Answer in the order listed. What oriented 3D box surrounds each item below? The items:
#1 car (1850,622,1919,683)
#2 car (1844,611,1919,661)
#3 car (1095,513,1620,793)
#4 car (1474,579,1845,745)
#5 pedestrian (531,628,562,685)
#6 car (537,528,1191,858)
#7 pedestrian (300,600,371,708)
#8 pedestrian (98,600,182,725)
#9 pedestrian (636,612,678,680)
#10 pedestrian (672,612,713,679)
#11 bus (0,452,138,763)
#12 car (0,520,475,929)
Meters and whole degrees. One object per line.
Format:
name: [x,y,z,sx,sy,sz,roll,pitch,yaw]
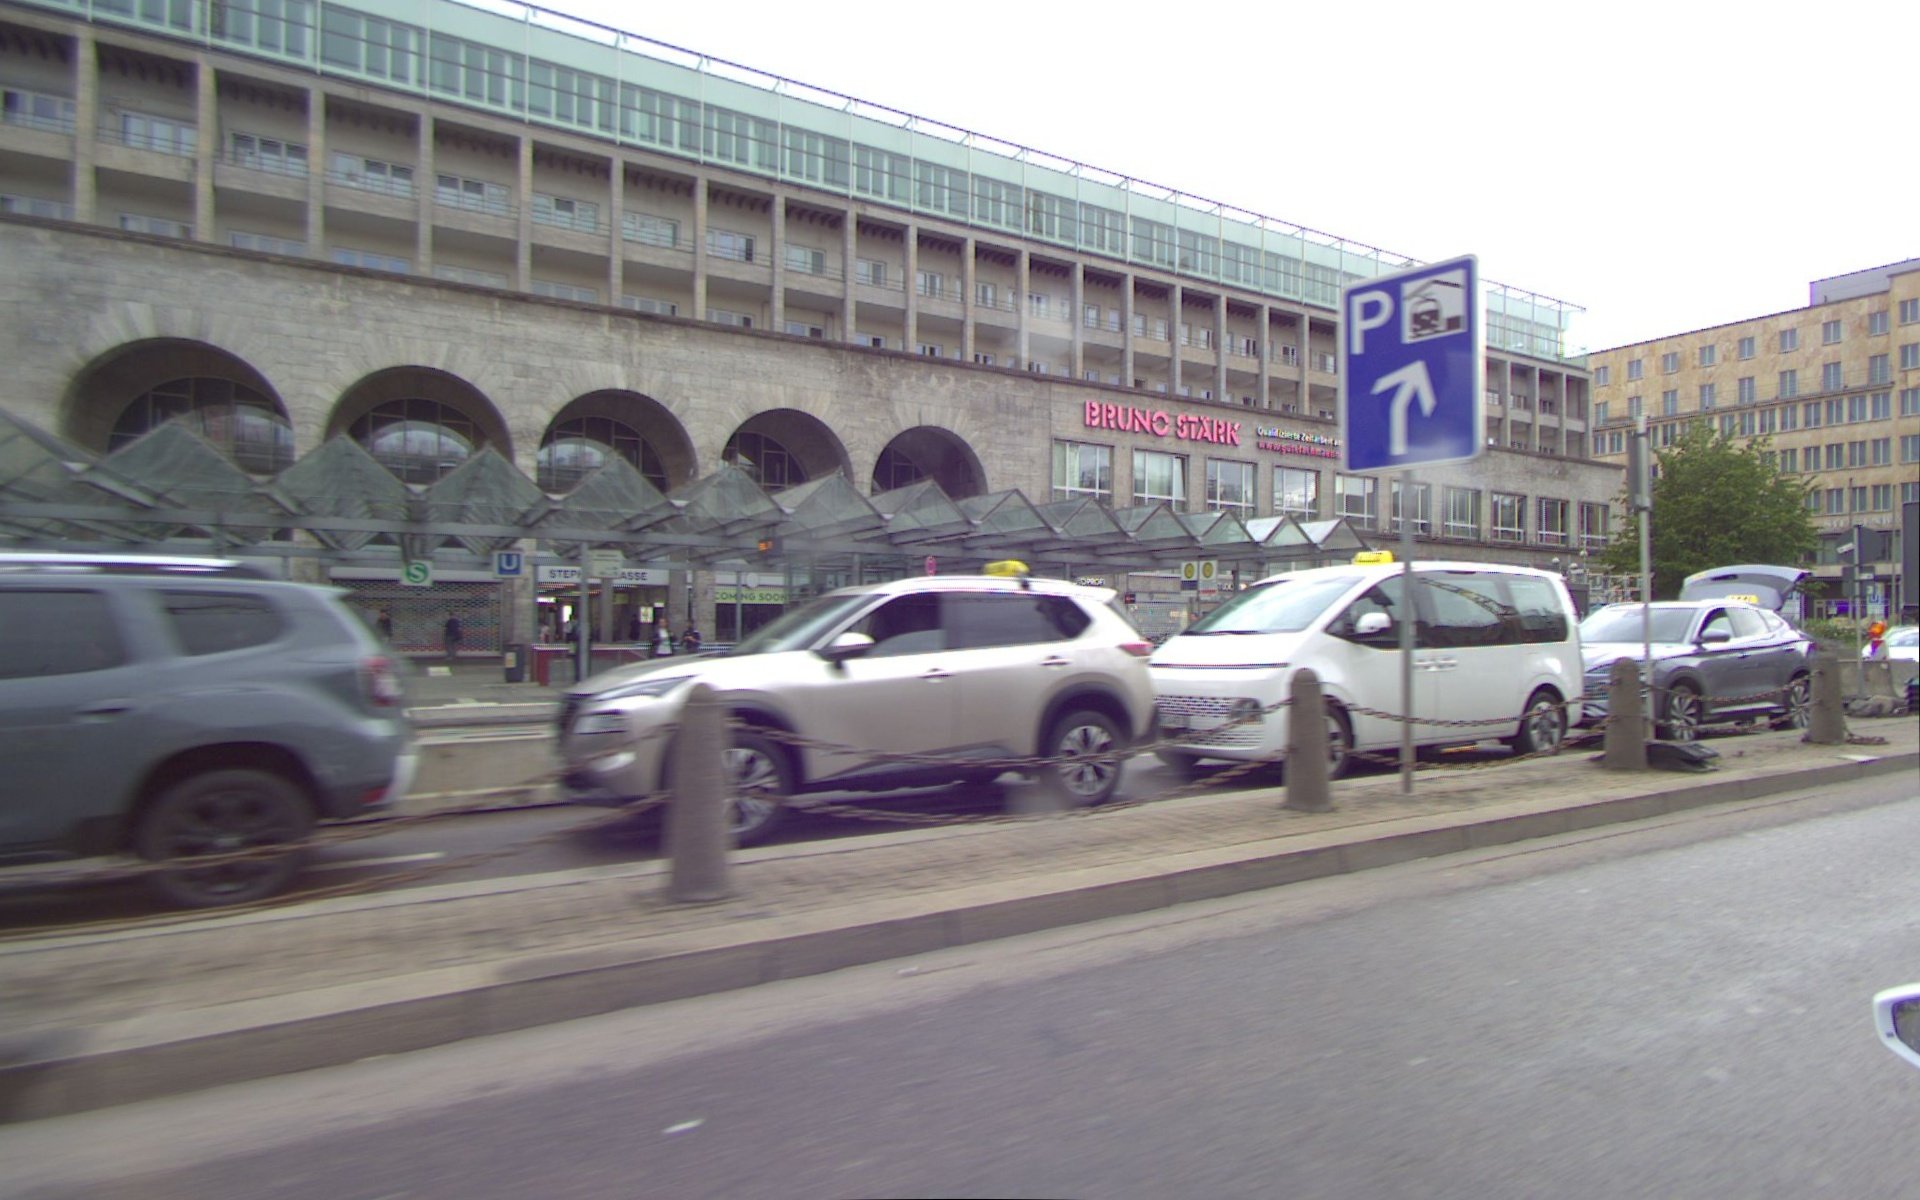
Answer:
car: [26.550,1.383,27.430,4.779,1.585,1.953,0,-3,-31]
car: [32.339,1.221,34.197,4.779,1.585,1.953,0,-3,-31]
car: [4.146,0.469,10.164,5.478,2.207,1.984,1,-1,-30]
car: [8.840,0.696,12.626,4.724,1.745,1.985,1,-1,-29]
pedestrian: [-11.874,1.606,28.828,0.747,1.588,0.627,0,1,-29]
car: [-0.623,0.593,7.557,4.528,1.830,1.921,1,-3,-30]
pedestrian: [-10.920,0.921,17.599,1.013,1.832,0.736,0,1,-29]
pedestrian: [-11.854,0.880,14.541,0.845,1.748,0.620,0,1,-30]
pedestrian: [-7.663,1.147,25.390,0.883,1.677,0.753,0,1,-28]
pedestrian: [-6.882,1.148,25.822,0.883,1.677,0.753,0,1,-28]
bus: [-15.401,0.030,10.256,10.451,3.506,2.863,1,-1,-31]
car: [-5.055,0.543,4.748,4.829,1.721,1.920,1,-3,-31]
